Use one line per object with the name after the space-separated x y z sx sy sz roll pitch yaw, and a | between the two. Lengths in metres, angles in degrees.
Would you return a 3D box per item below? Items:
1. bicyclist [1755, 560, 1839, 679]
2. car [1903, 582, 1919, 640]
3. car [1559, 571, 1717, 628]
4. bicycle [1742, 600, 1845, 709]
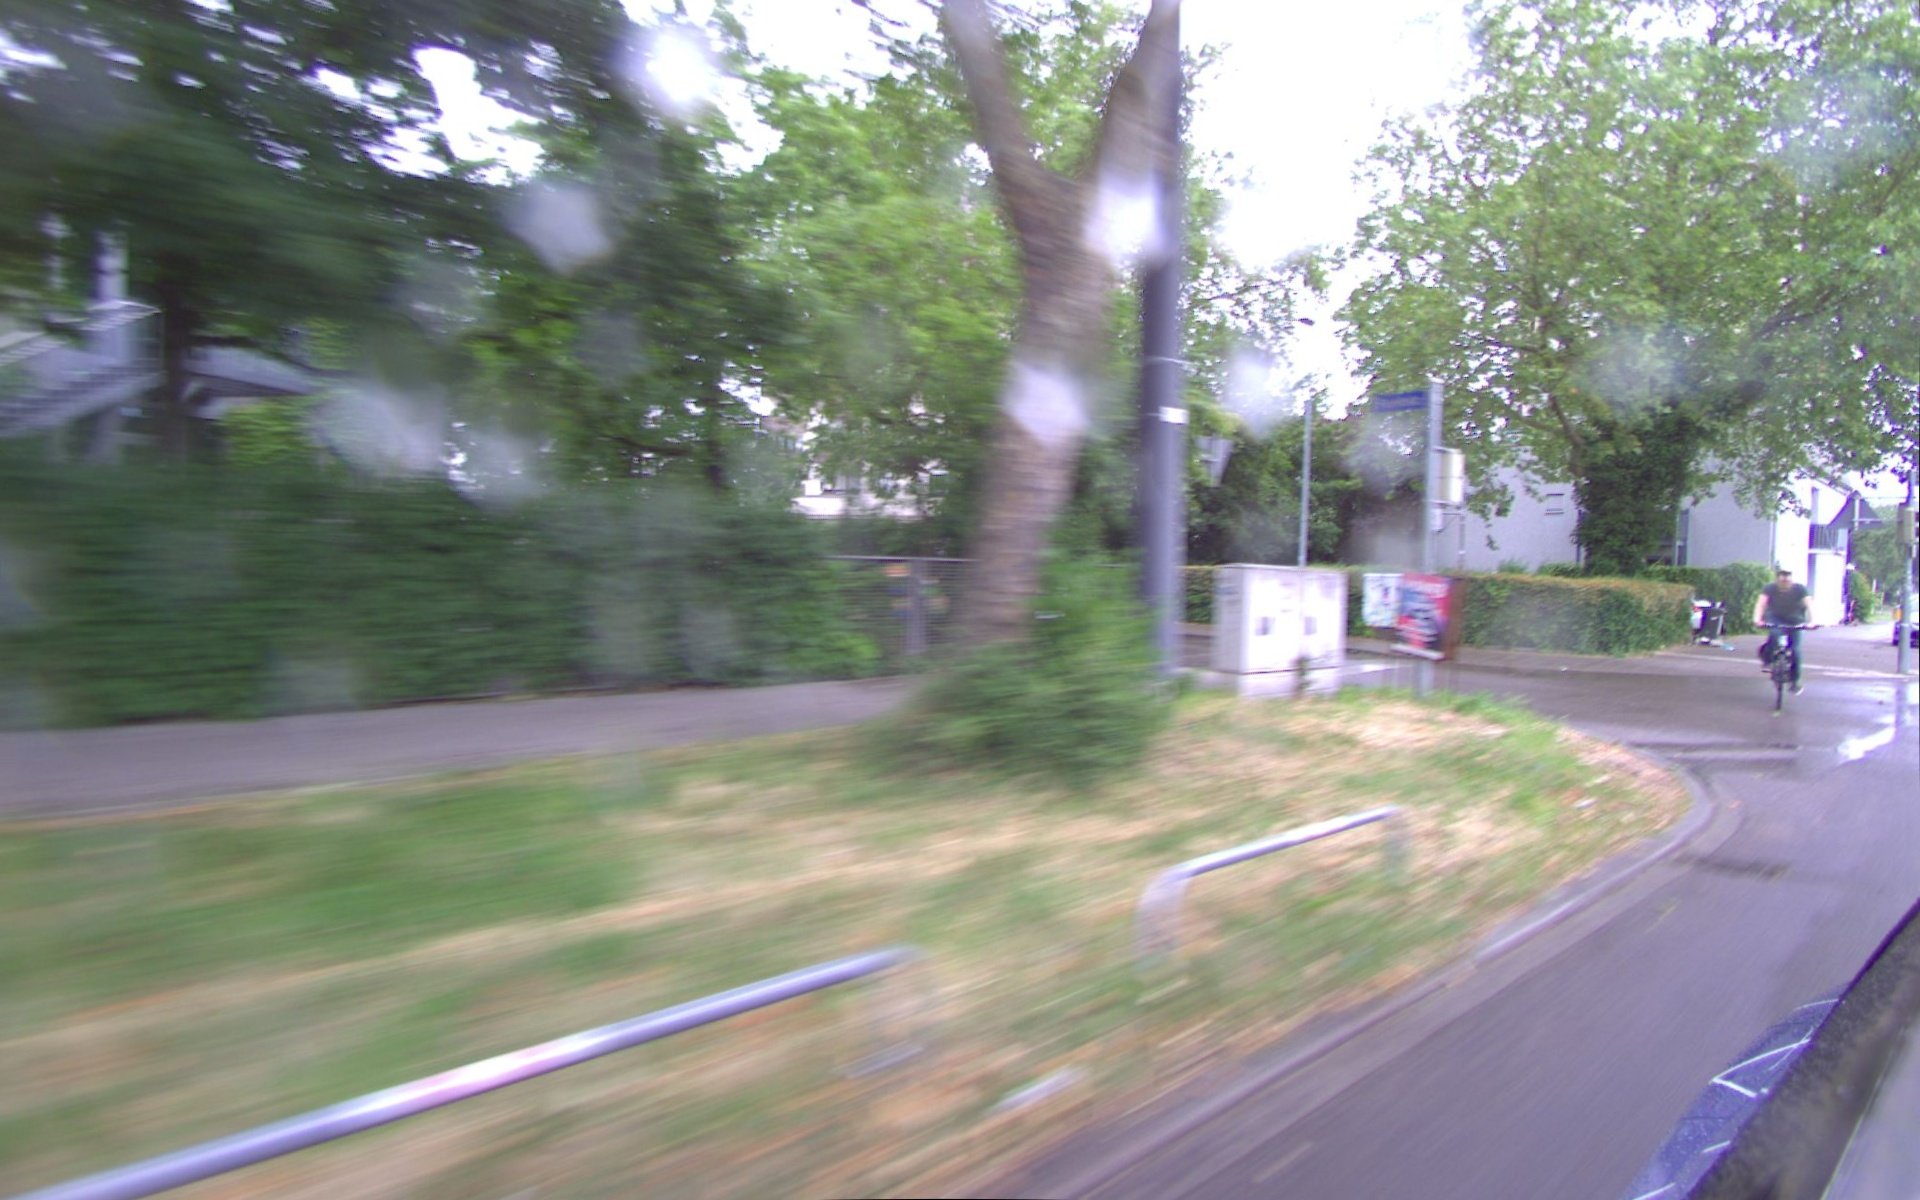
10.762 0.227 13.010 0.741 1.447 0.674 0 3 -43 | bicyclist
26.980 0.341 27.306 3.930 1.504 1.780 0 4 -41 | car
20.316 -0.046 30.432 1.646 1.424 3.581 0 4 -38 | car
10.774 0.646 13.046 2.405 1.156 0.674 -3 5 -43 | bicycle
